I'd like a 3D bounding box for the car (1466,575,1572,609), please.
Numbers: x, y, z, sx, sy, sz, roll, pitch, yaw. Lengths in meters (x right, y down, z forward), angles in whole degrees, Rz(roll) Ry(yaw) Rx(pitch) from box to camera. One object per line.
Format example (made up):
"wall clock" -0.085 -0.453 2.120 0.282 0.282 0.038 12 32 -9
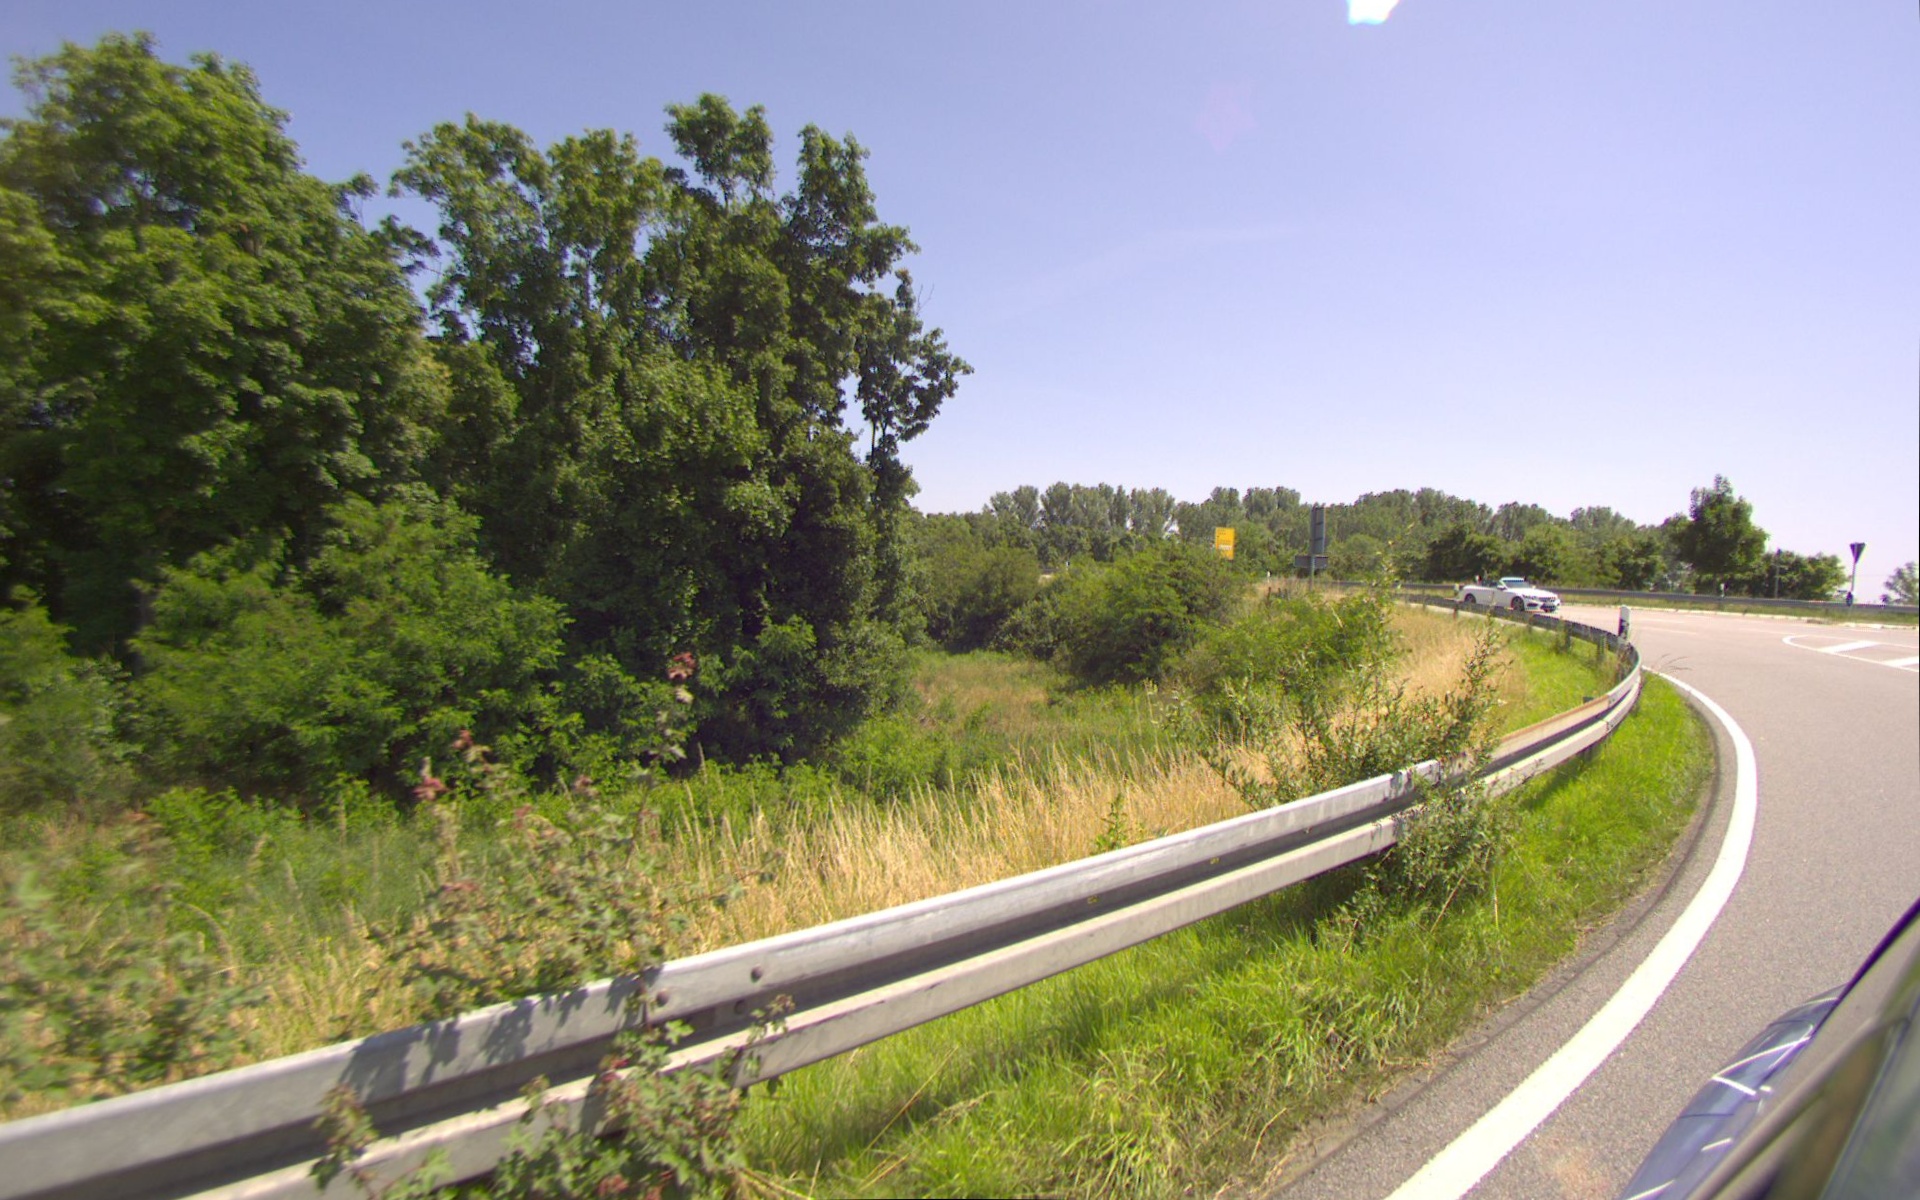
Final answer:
"car" 24.512 -0.382 44.534 1.776 1.433 4.118 0 1 -13
